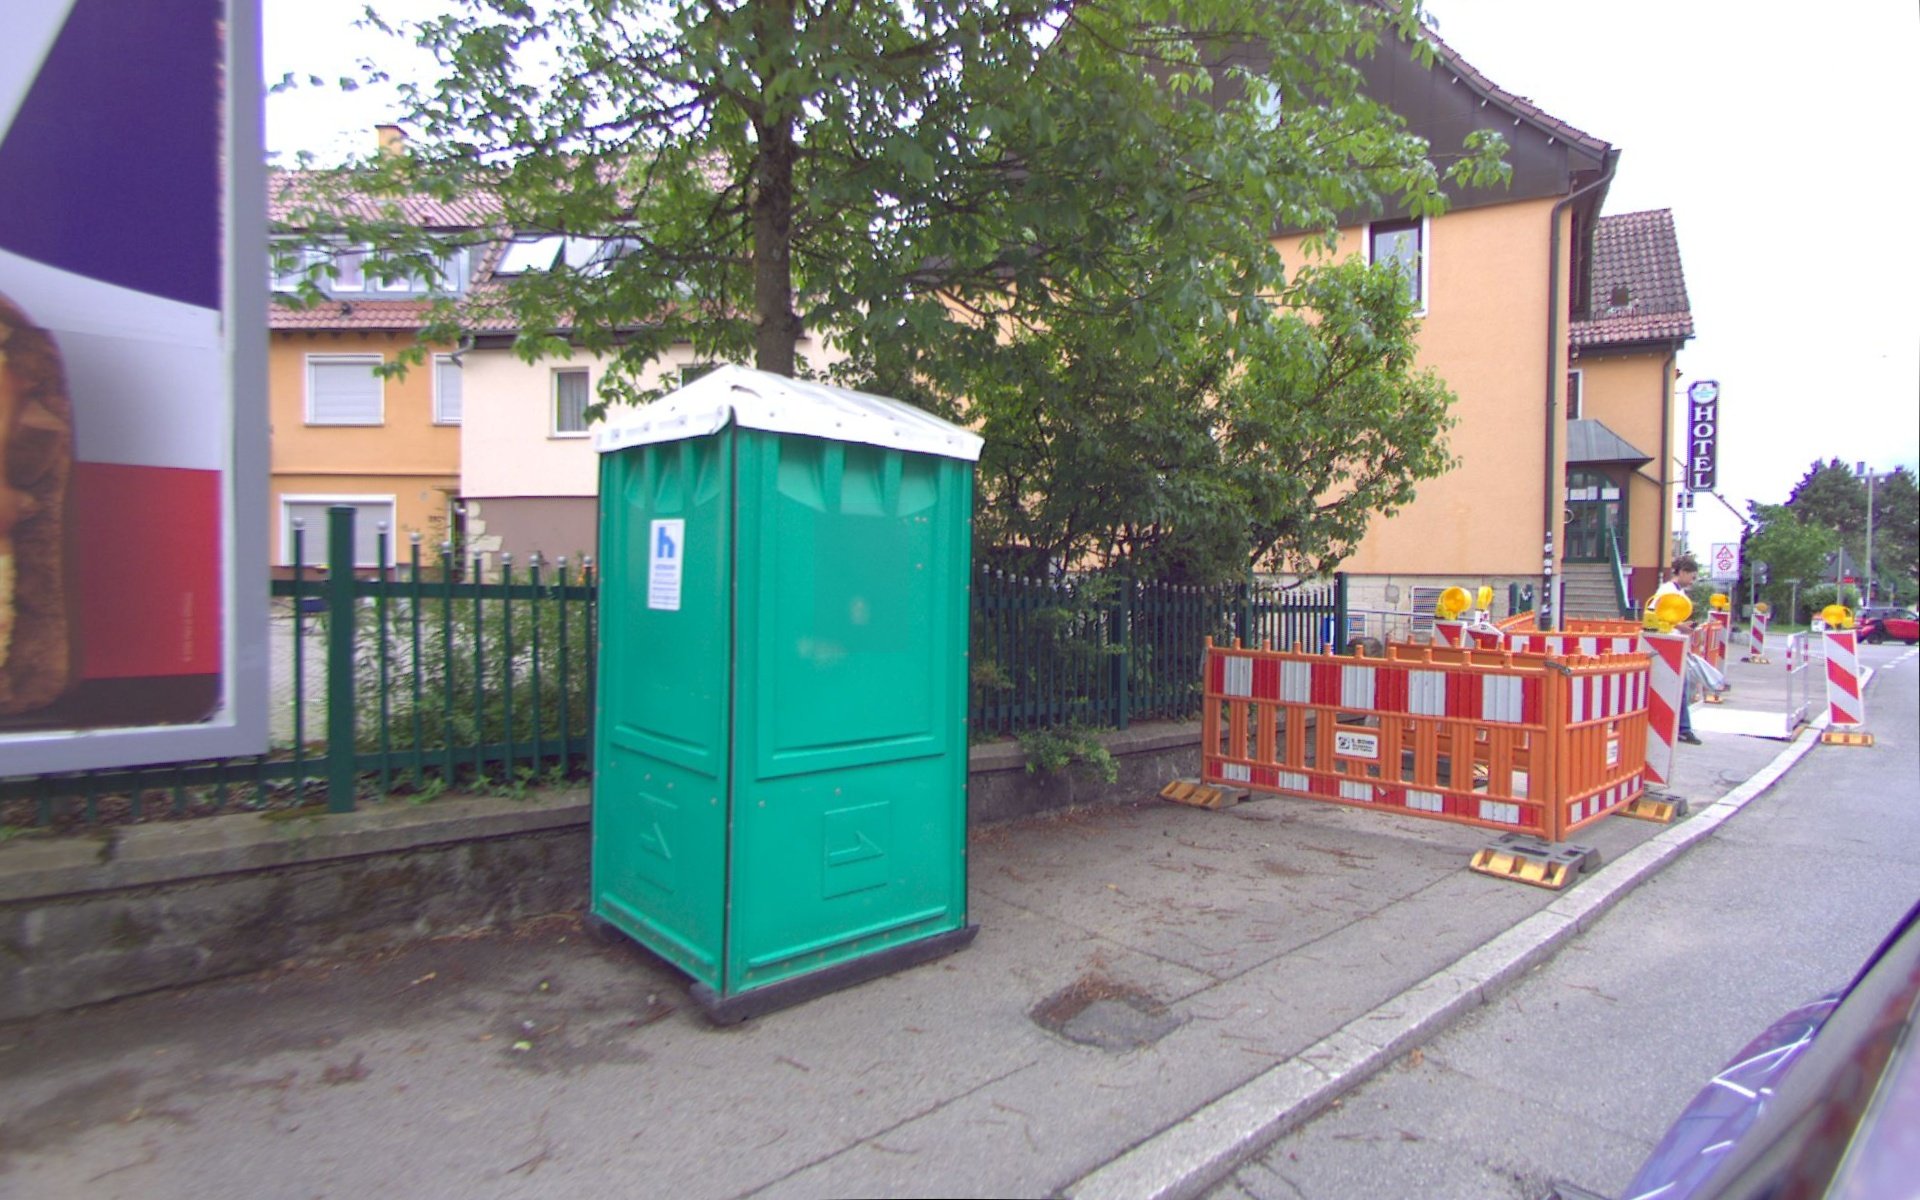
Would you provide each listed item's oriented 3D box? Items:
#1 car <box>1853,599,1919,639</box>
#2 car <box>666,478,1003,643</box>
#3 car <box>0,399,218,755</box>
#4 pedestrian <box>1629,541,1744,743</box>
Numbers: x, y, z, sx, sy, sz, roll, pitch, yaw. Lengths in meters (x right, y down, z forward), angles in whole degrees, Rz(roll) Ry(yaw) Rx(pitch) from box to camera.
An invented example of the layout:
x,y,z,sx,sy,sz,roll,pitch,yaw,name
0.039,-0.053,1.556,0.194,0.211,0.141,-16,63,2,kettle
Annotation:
x,y,z,sx,sy,sz,roll,pitch,yaw,name
38.675,0.780,41.251,2.905,1.539,1.807,2,1,22,car
-1.569,-0.424,11.714,3.986,1.582,1.720,2,1,43,car
-6.622,-0.155,6.123,1.958,2.058,4.237,1,1,-14,car
7.502,0.394,10.453,0.798,1.974,0.823,3,1,44,pedestrian
